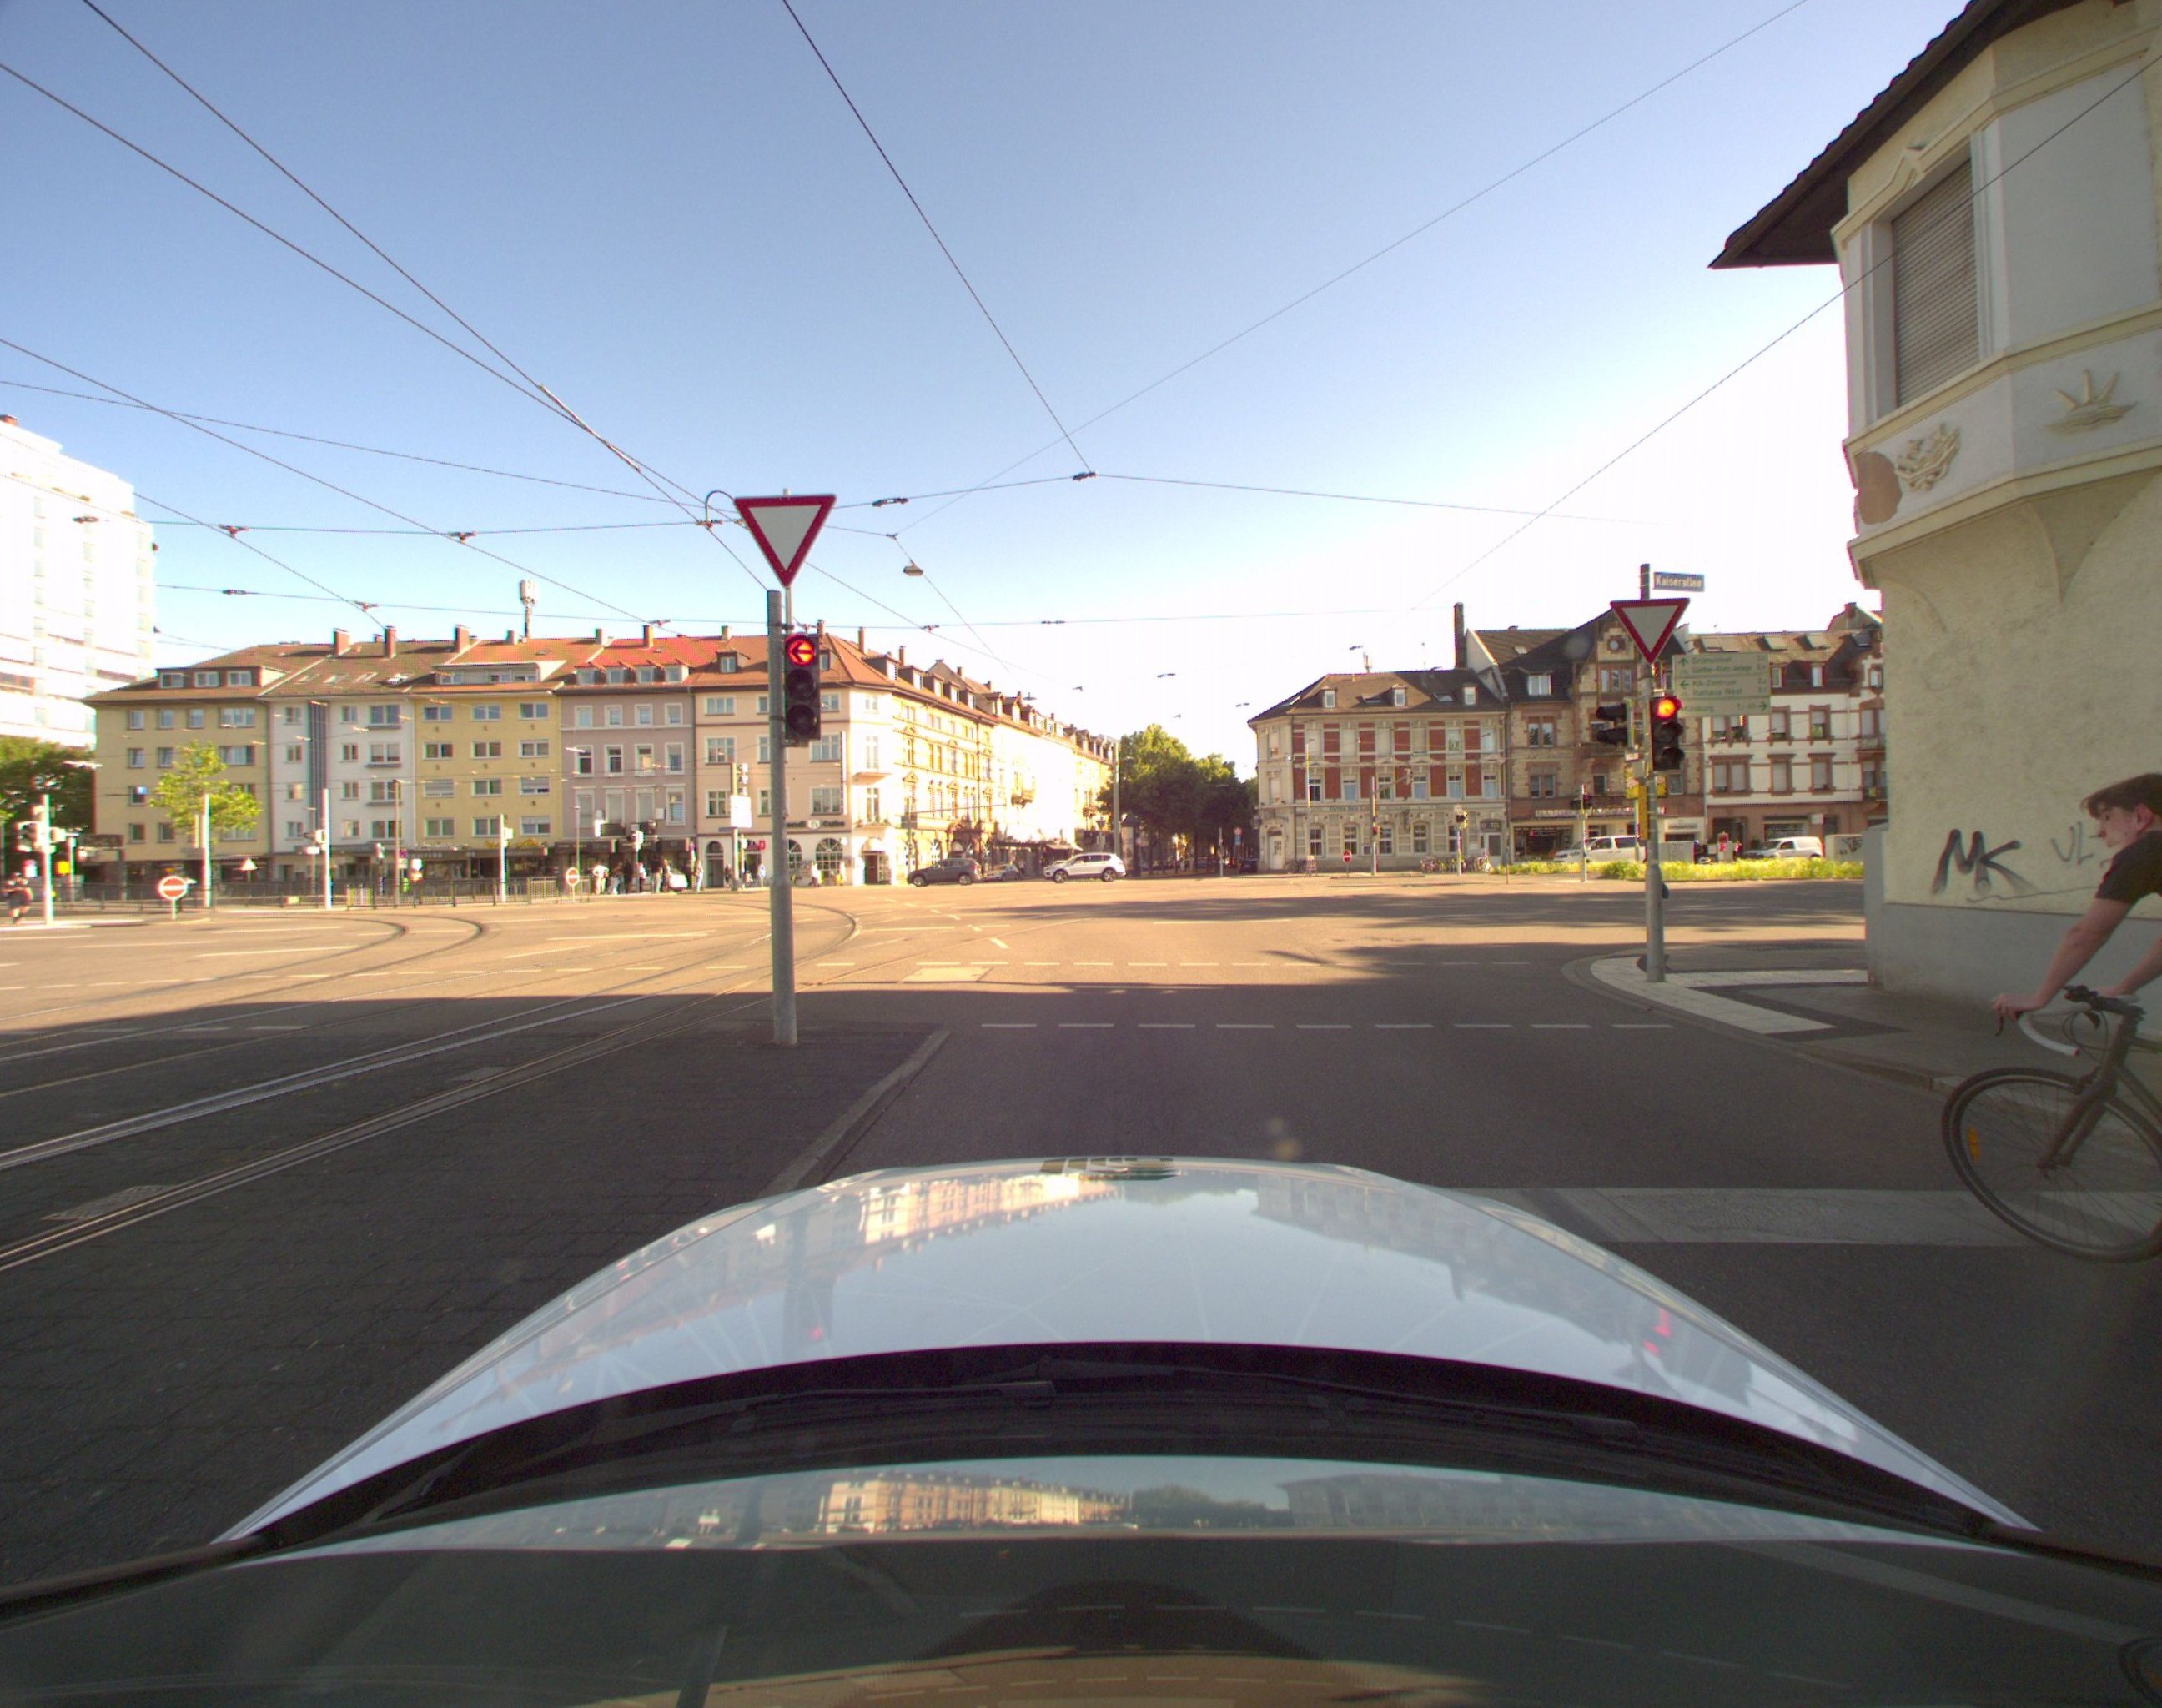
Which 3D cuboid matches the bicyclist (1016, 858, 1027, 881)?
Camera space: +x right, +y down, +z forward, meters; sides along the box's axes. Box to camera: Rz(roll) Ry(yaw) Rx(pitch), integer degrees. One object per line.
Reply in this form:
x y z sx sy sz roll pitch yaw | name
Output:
-4.782 1.214 65.359 0.561 1.804 0.918 -1 -1 17 | bicyclist

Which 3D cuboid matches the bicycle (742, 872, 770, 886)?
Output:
-22.990 1.758 57.605 1.694 0.983 0.611 0 -1 1 | bicycle

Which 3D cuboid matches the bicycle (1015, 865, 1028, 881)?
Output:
-4.774 1.491 65.349 0.561 1.254 1.564 -1 -1 17 | bicycle

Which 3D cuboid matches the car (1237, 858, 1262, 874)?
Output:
17.090 1.219 82.254 1.741 1.556 4.021 -1 -1 22 | car

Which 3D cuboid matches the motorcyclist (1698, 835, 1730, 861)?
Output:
32.250 -0.318 41.528 1.009 1.300 0.790 0 -1 6 | motorcyclist

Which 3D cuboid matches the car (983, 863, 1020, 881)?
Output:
-6.573 1.480 67.504 1.647 1.374 3.909 -1 -1 17 | car

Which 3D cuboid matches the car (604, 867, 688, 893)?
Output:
-24.162 1.424 45.313 3.777 1.403 1.699 0 -1 -1 | car

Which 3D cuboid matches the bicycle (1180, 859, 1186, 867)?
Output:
16.433 1.427 131.253 0.668 1.207 1.831 -1 -1 20 | bicycle

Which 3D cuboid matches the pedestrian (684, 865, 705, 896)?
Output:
-19.878 1.362 41.927 0.666 1.594 0.815 0 -1 1 | pedestrian

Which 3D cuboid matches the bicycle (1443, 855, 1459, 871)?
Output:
24.045 0.567 52.971 0.758 0.983 2.221 -1 -1 20 | bicycle

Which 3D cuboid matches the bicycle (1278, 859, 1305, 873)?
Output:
14.706 0.833 56.922 1.789 0.963 0.606 -1 -1 16 | bicycle

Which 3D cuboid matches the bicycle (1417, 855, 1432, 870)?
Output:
22.503 0.581 53.362 0.758 0.963 2.221 -1 -1 20 | bicycle

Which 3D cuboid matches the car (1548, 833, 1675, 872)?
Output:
27.211 -0.088 41.893 5.179 1.854 2.001 -1 0 2 | car

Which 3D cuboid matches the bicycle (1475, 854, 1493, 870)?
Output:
26.048 0.537 52.682 0.785 1.016 2.221 -1 -1 20 | bicycle

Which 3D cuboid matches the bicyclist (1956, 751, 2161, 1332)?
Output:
3.581 0.570 2.585 0.587 1.767 0.936 0 -1 2 | bicyclist

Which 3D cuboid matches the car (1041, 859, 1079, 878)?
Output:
-1.683 1.183 67.481 1.788 1.585 4.179 -1 -1 19 | car

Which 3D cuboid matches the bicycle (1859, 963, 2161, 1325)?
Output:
3.587 0.962 2.628 0.480 0.991 1.783 0 -1 2 | bicycle

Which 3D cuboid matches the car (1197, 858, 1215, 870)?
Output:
17.876 1.357 116.374 1.978 1.684 4.018 -1 -1 17 | car

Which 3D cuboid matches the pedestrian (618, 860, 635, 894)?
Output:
-22.575 1.141 40.445 0.520 1.648 0.498 0 -1 1 | pedestrian

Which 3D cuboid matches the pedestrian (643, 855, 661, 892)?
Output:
-21.612 0.979 41.018 0.525 1.823 0.677 0 -1 1 | pedestrian

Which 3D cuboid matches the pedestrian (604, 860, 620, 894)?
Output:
-23.290 1.146 40.434 0.520 1.648 0.498 0 -1 1 | pedestrian

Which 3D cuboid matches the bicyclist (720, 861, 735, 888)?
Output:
-23.010 1.331 53.008 0.618 1.790 0.616 0 -1 7 | bicyclist

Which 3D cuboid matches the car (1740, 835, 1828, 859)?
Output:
45.191 -0.437 52.438 3.961 1.438 1.874 0 -1 5 | car

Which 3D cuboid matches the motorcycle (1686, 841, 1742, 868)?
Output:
32.261 0.028 41.521 2.124 1.333 0.798 0 -1 6 | motorcycle

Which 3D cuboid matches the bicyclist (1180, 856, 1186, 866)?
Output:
16.430 1.079 131.260 0.668 1.568 0.751 -1 -1 20 | bicyclist

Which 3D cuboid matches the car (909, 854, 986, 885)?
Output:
-7.903 0.908 48.377 4.213 1.773 1.818 0 -1 1 | car

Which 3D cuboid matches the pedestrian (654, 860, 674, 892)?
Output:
-21.549 1.115 42.051 0.580 1.648 0.840 0 -1 1 | pedestrian

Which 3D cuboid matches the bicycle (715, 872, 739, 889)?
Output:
-23.007 1.724 52.990 0.618 1.030 1.758 0 -1 7 | bicycle

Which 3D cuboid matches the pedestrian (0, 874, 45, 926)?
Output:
-33.478 1.436 25.675 0.609 1.609 0.765 0 -1 -1 | pedestrian

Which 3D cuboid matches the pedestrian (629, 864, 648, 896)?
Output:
-22.917 1.343 42.174 0.571 1.648 0.727 0 -1 1 | pedestrian

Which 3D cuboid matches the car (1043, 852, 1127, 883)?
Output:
0.195 0.759 46.990 4.669 1.734 1.832 0 -1 -7 | car

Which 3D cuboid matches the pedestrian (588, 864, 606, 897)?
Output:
-25.022 1.362 42.103 0.582 1.648 0.616 0 -1 1 | pedestrian

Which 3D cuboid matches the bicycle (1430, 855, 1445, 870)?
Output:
23.258 0.574 53.095 0.758 0.968 2.221 -1 -1 20 | bicycle

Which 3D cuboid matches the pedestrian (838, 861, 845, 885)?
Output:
-16.682 1.329 56.701 0.497 1.676 0.586 0 -1 -16 | pedestrian

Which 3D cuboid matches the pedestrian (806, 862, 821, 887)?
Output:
-17.920 1.389 54.595 0.562 1.642 0.797 -1 -1 25 | pedestrian

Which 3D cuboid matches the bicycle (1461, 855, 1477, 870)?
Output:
25.178 0.545 52.853 0.758 1.007 2.231 -1 -1 20 | bicycle

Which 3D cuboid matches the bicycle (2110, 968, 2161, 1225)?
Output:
4.457 0.954 2.448 0.501 0.983 1.783 0 -1 2 | bicycle

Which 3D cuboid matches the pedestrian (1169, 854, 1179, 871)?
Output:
11.478 1.063 100.512 0.967 2.014 0.910 0 -1 -30 | pedestrian
